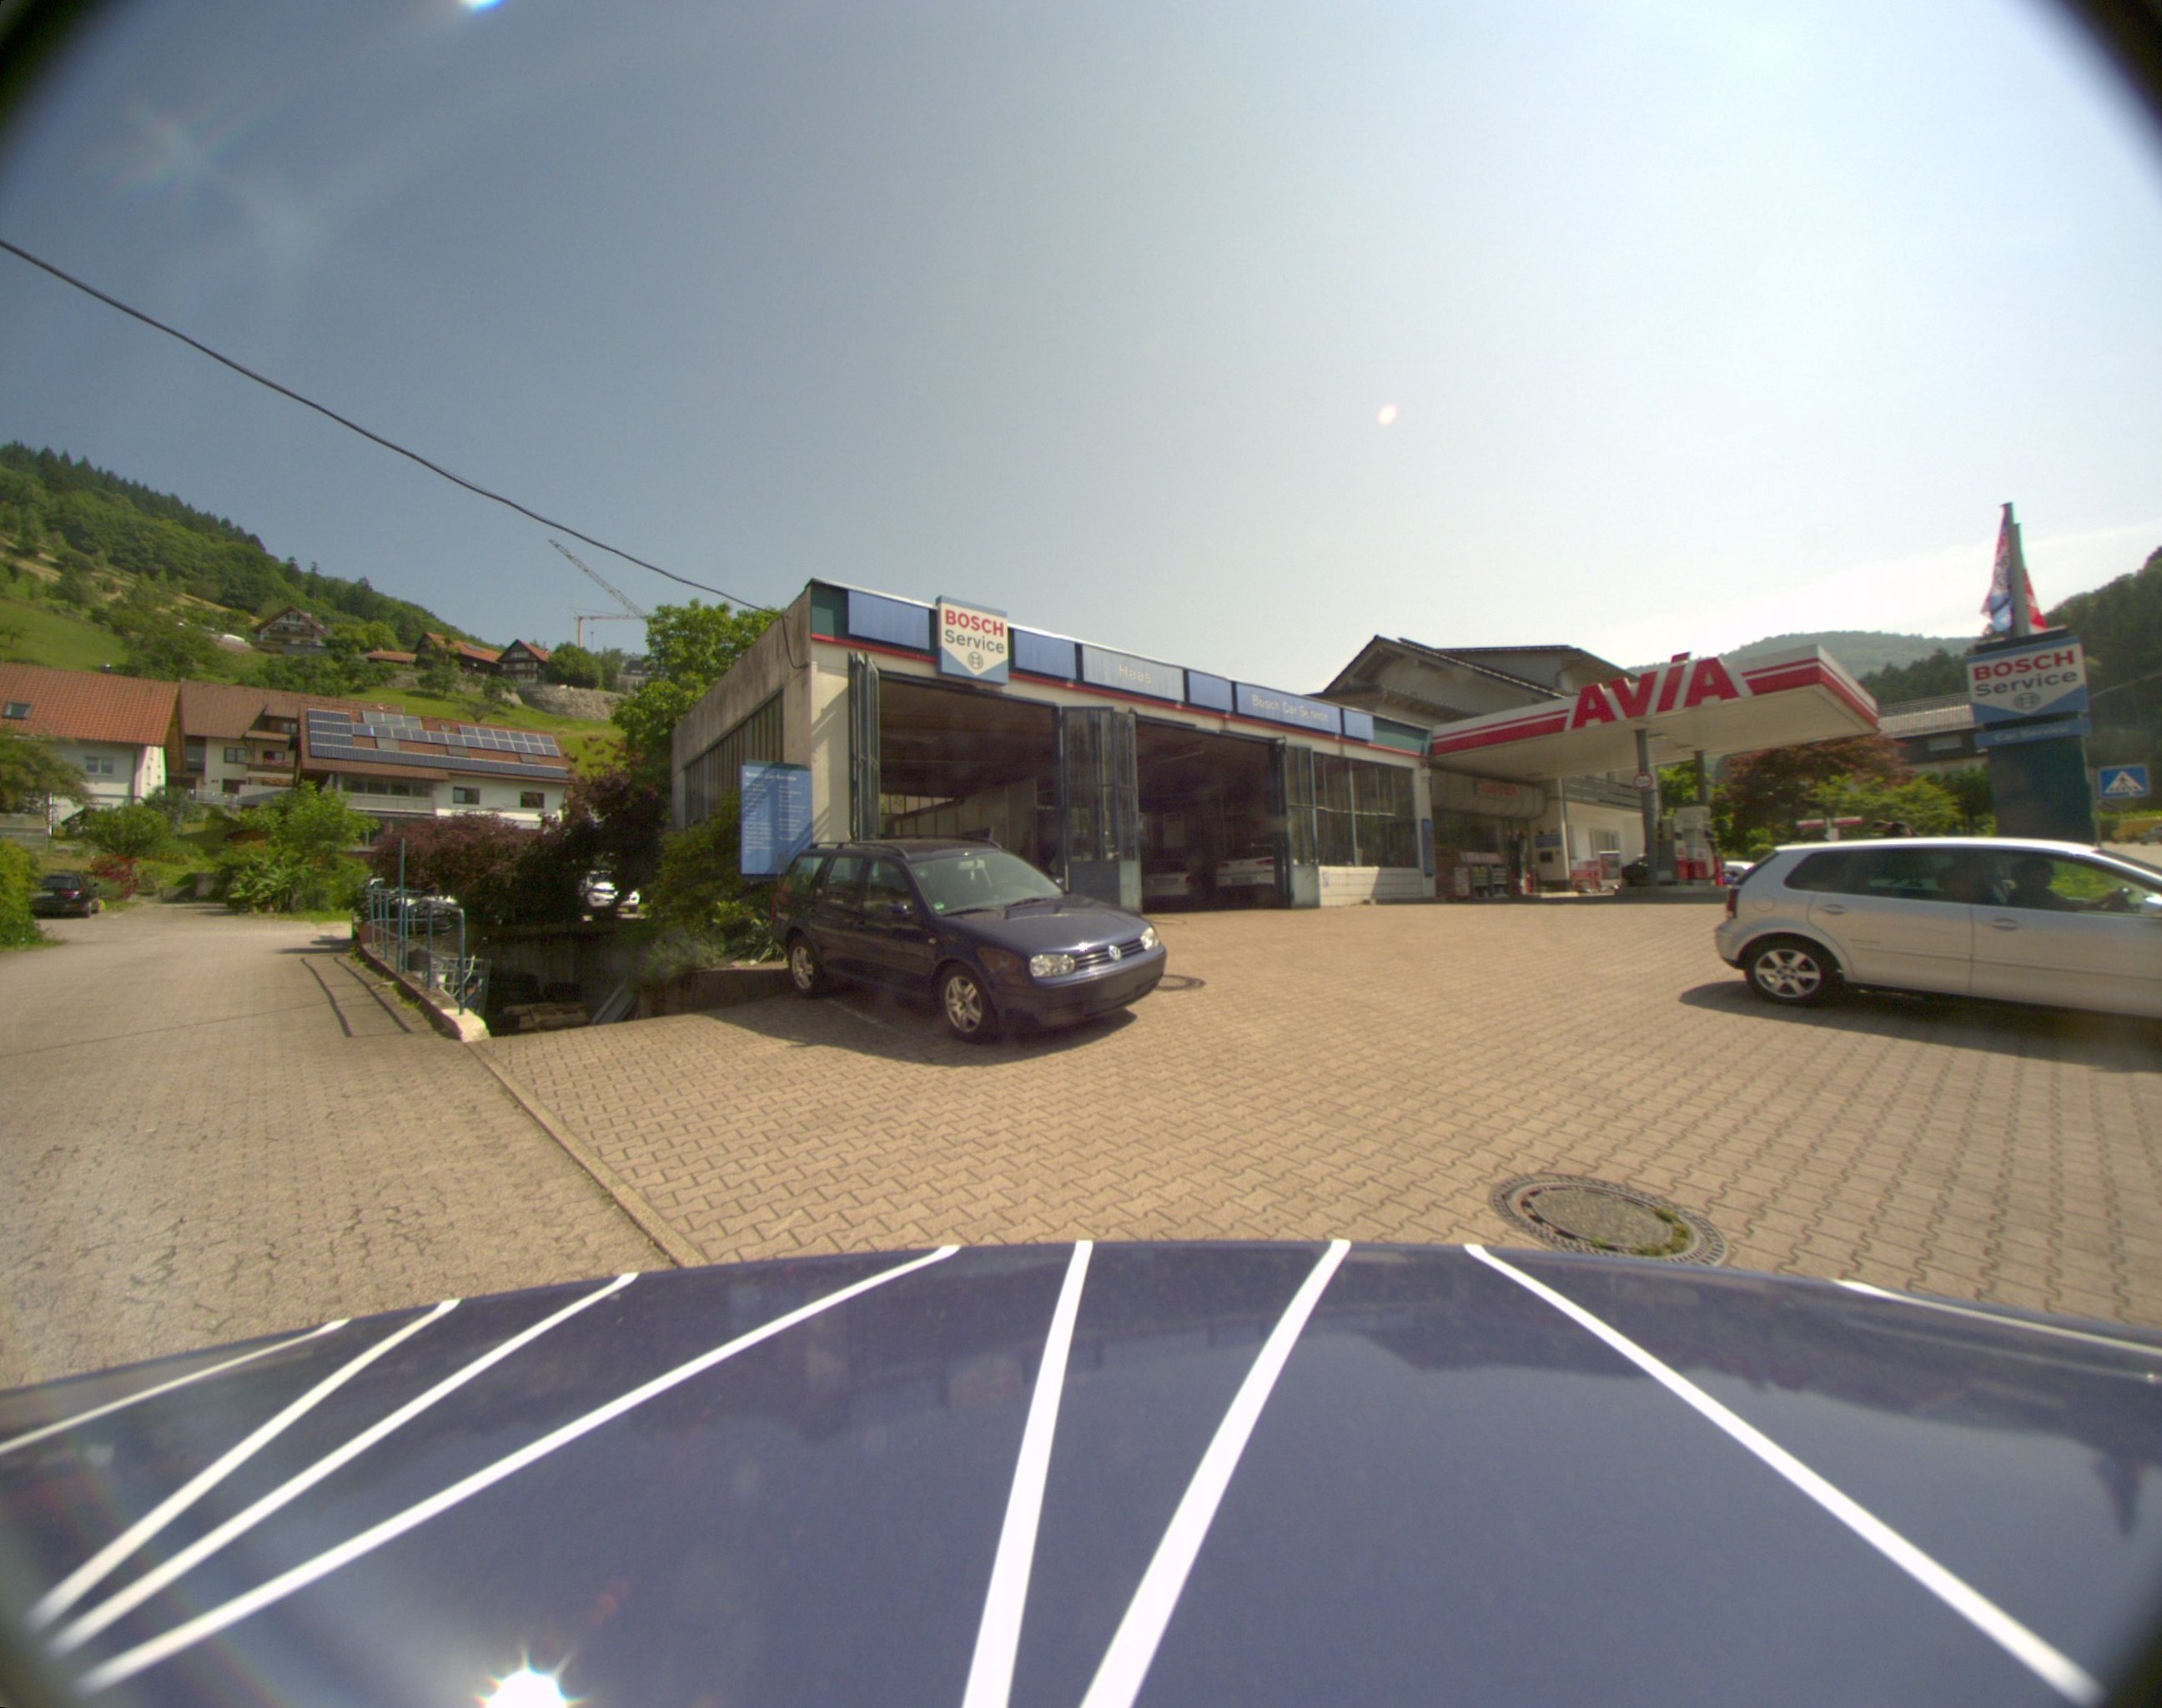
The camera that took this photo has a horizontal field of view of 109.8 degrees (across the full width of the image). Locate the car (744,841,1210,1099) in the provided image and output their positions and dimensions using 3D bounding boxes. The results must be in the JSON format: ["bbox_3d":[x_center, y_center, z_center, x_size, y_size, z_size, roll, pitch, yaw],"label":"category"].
[{"bbox_3d":[-1.186,0.726,6.815,4.319,1.536,1.803,-1,2,44],"label":"car"}]

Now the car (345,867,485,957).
[{"bbox_3d":[-14.966,1.154,16.963,2.004,1.635,4.863,-3,1,-45],"label":"car"}]

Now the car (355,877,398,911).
[{"bbox_3d":[-32.669,1.820,35.217,1.347,1.363,3.204,-3,1,-43],"label":"car"}]

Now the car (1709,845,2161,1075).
[{"bbox_3d":[7.460,0.686,5.853,1.598,1.474,3.746,-2,2,-35],"label":"car"}]

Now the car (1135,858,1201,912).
[{"bbox_3d":[2.564,0.927,21.816,1.546,1.397,3.484,-2,-4,11],"label":"car"}]

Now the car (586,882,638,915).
[{"bbox_3d":[-19.931,1.842,32.251,1.471,1.251,3.379,1,-1,-38],"label":"car"}]

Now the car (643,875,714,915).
[{"bbox_3d":[-17.751,1.735,33.441,1.683,1.546,3.900,-3,1,-44],"label":"car"}]

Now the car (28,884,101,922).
[{"bbox_3d":[-31.952,1.516,23.930,2.855,1.058,1.115,1,-2,42],"label":"car"}]

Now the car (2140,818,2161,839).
[{"bbox_3d":[80.136,-1.913,56.176,3.605,1.565,1.783,-2,1,-42],"label":"car"}]

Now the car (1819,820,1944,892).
[{"bbox_3d":[19.604,-0.003,18.558,3.918,1.568,1.693,-2,1,-37],"label":"car"}]

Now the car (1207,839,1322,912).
[{"bbox_3d":[4.924,0.501,19.997,1.601,1.678,3.937,-1,1,35],"label":"car"}]
